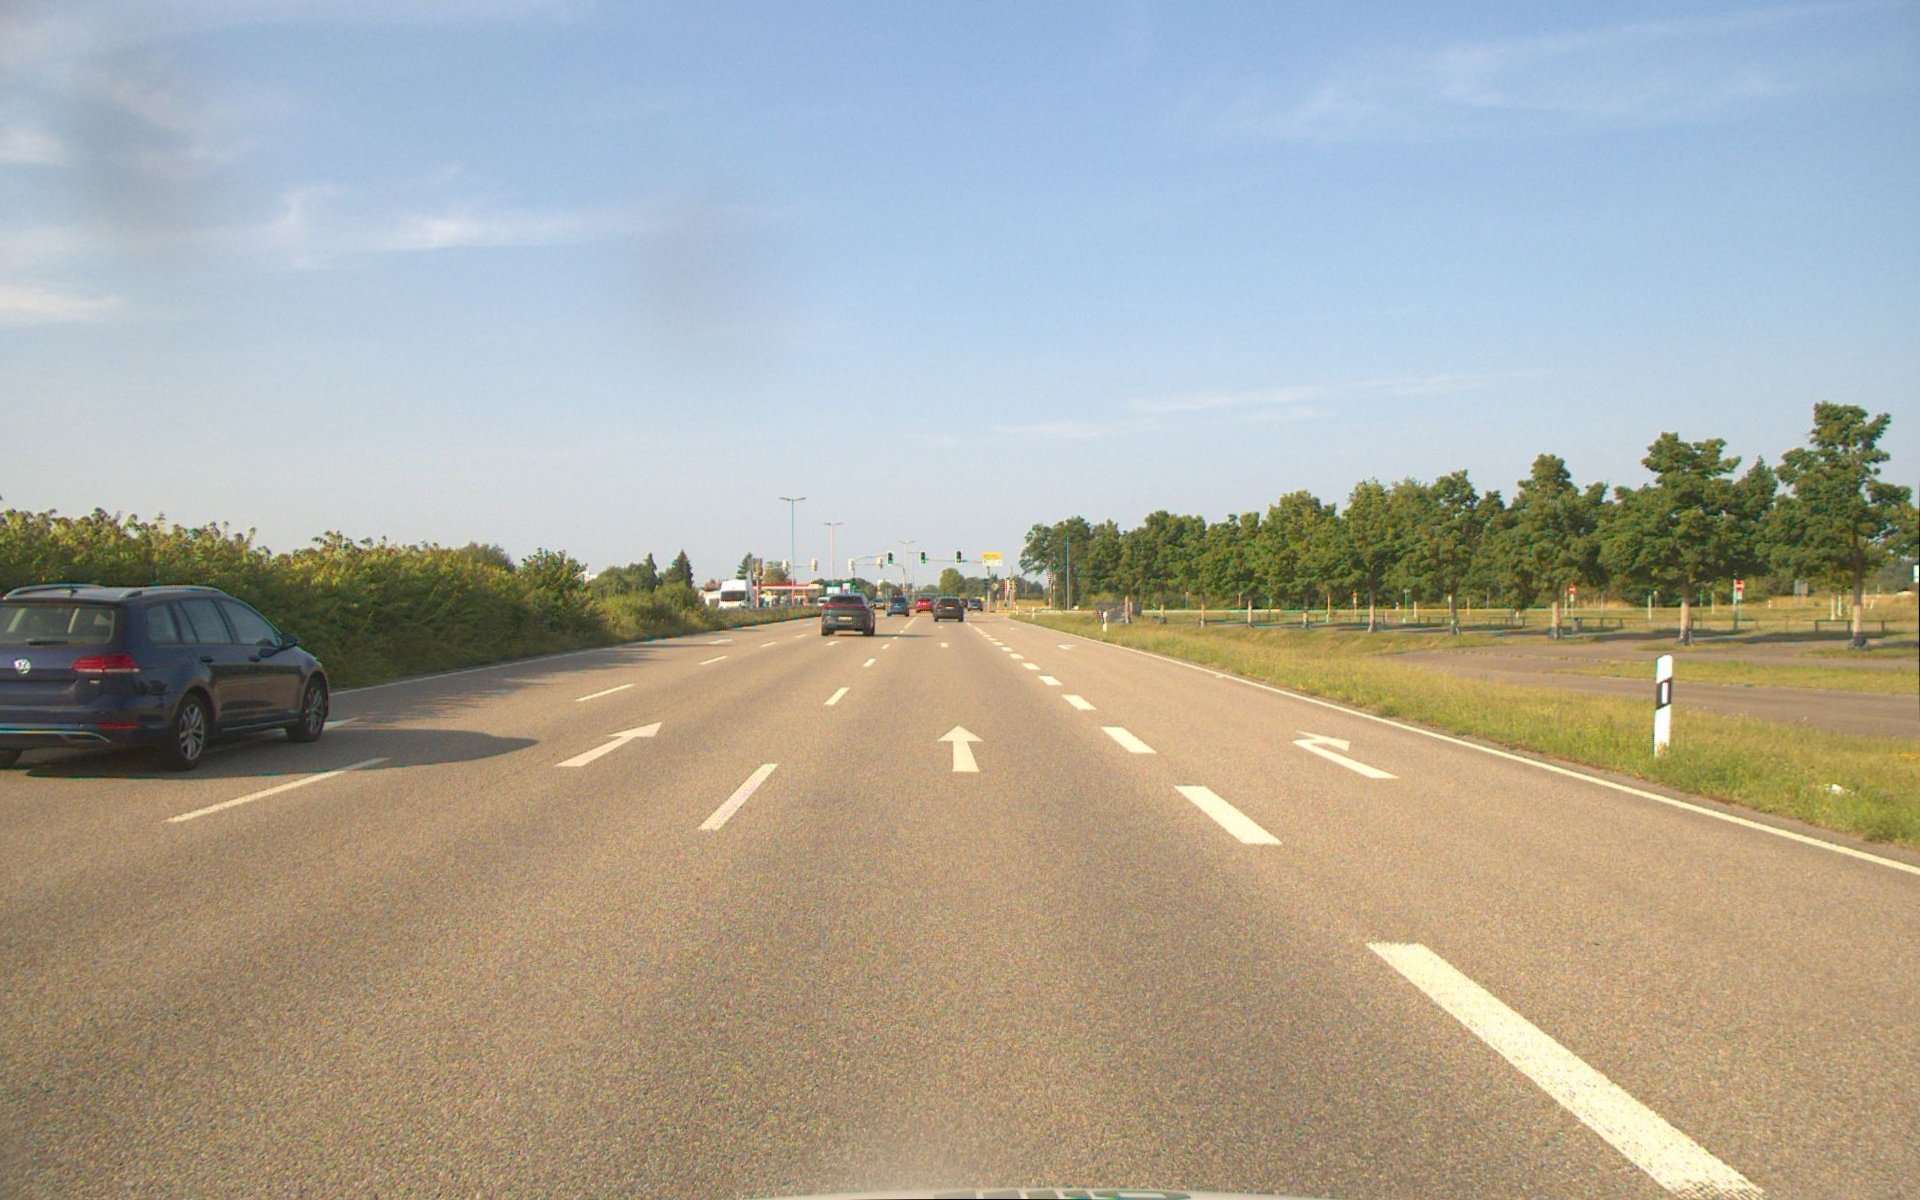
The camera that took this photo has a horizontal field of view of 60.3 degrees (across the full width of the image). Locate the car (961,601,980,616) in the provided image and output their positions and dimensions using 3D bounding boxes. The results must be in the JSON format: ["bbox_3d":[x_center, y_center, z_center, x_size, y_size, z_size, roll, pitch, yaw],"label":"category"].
[{"bbox_3d":[1.191,0.948,190.166,1.907,1.665,3.445,1,-1,-3],"label":"car"}]

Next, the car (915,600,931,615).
[{"bbox_3d":[-3.773,0.738,168.415,1.614,1.489,3.980,2,0,-1],"label":"car"}]

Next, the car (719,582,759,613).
[{"bbox_3d":[-15.506,-0.159,116.346,2.118,2.071,6.321,1,-1,-1],"label":"car"}]

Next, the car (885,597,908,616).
[{"bbox_3d":[-5.317,0.539,138.745,1.776,1.489,4.400,2,0,-1],"label":"car"}]

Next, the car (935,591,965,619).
[{"bbox_3d":[-0.682,0.307,109.235,1.893,1.709,4.400,2,0,-1],"label":"car"}]

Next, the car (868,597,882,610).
[{"bbox_3d":[-10.620,0.470,205.930,1.567,1.559,3.999,2,0,-1],"label":"car"}]

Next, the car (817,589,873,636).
[{"bbox_3d":[-4.282,0.433,62.256,1.808,1.640,4.400,2,0,-1],"label":"car"}]

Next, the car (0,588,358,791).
[{"bbox_3d":[-6.966,0.655,14.601,1.613,1.497,4.775,0,0,-1],"label":"car"}]
